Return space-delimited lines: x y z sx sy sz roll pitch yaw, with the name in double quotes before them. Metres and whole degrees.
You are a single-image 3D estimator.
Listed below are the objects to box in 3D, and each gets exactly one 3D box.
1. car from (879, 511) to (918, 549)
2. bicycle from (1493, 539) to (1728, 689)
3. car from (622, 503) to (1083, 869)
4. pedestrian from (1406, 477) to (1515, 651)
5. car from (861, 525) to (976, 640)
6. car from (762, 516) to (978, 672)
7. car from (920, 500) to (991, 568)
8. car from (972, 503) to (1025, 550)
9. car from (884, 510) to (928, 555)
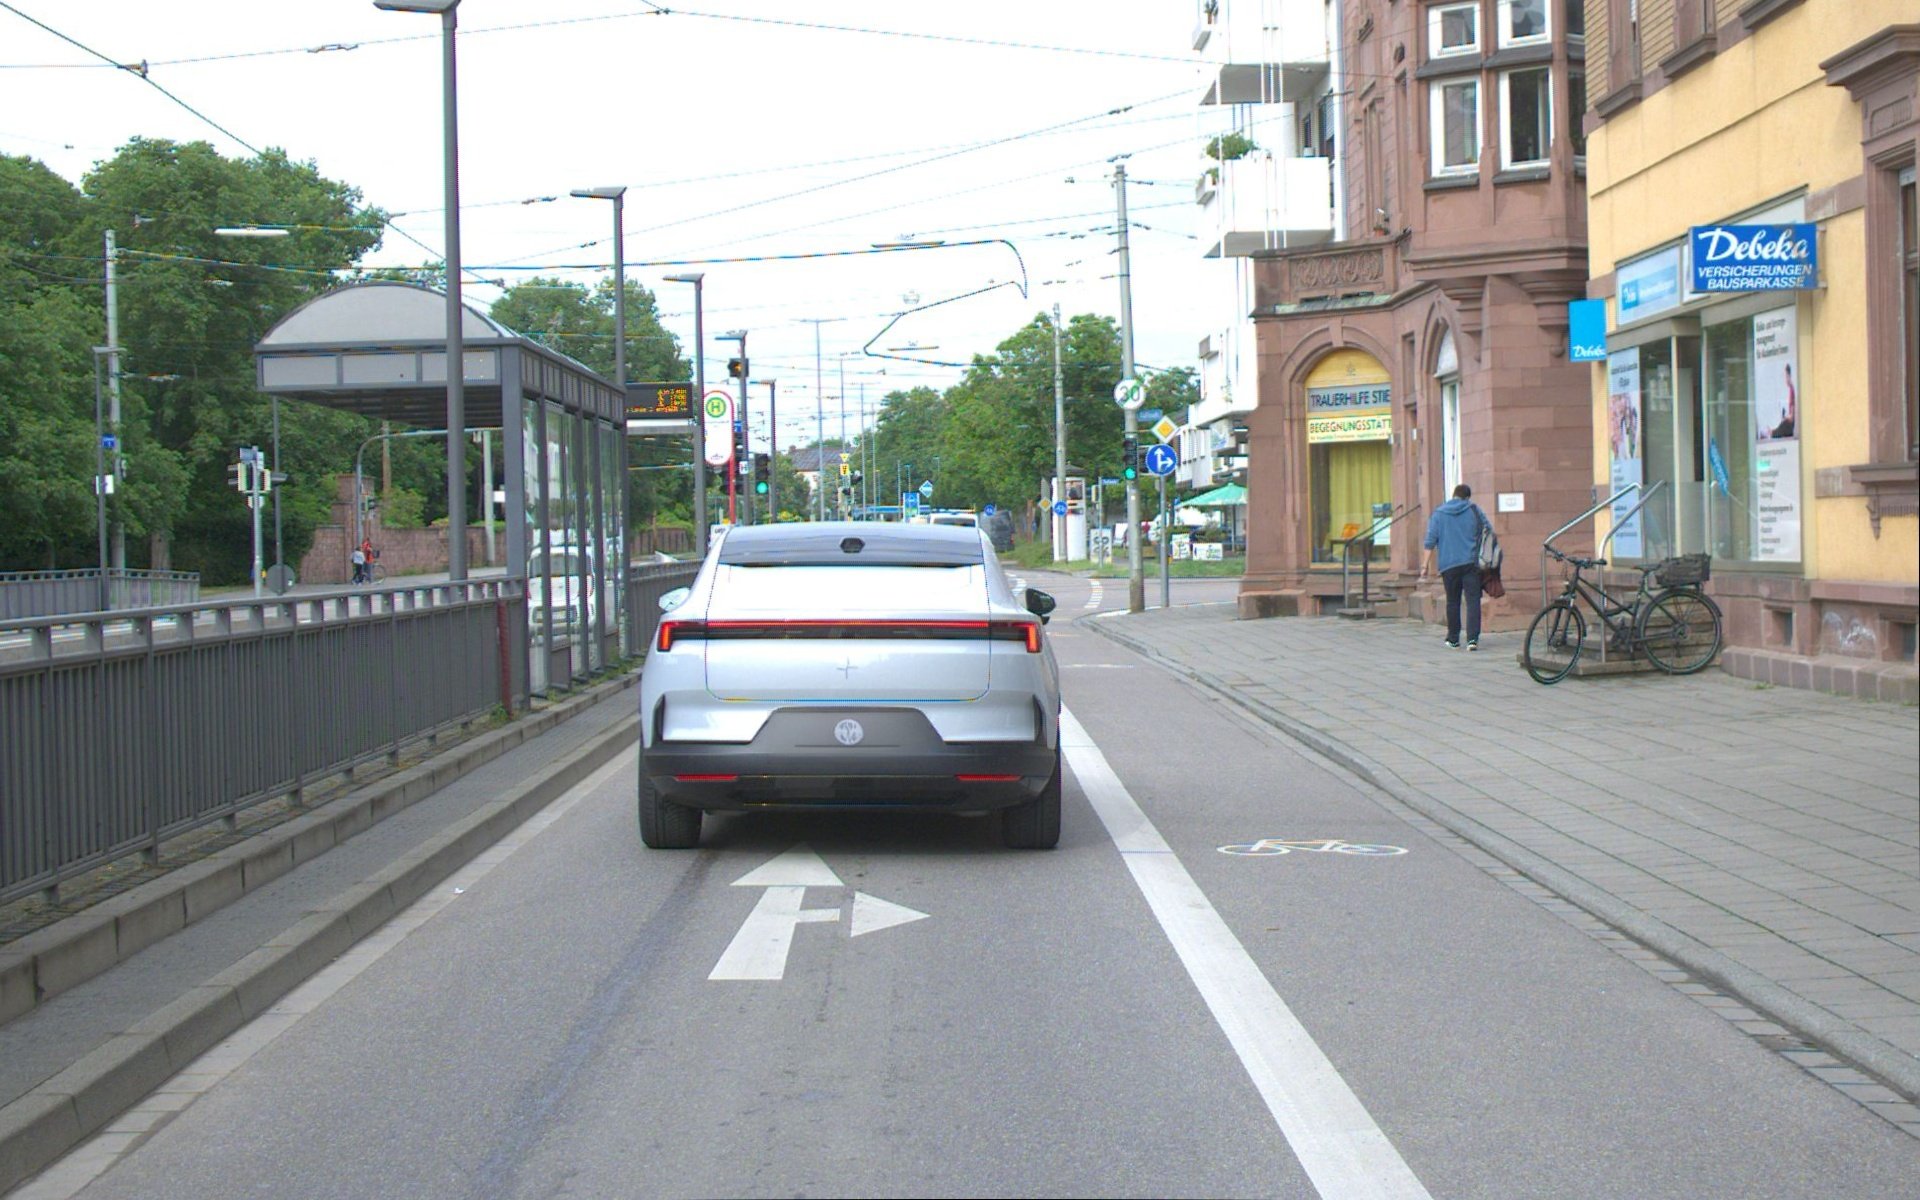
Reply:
"car" -3.315 -3.782 185.958 1.993 2.007 4.000 -1 1 -1
"bicycle" 5.430 0.112 28.744 1.777 1.126 0.642 -4 1 -1
"car" -0.629 0.353 16.893 1.999 1.575 4.001 0 0 -5
"pedestrian" 5.501 -0.404 37.817 0.961 1.843 0.975 -3 2 0
"car" -0.613 -0.286 52.467 1.681 1.681 3.824 0 1 0
"car" -0.904 -0.097 34.310 1.993 1.415 4.000 -2 1 -2
"car" -0.185 -2.370 124.293 2.225 2.394 5.124 0 1 -4
"car" 2.073 -3.982 188.106 2.807 2.496 5.723 0 1 0
"car" -2.500 -3.128 159.169 1.993 2.007 4.000 -1 1 -1
